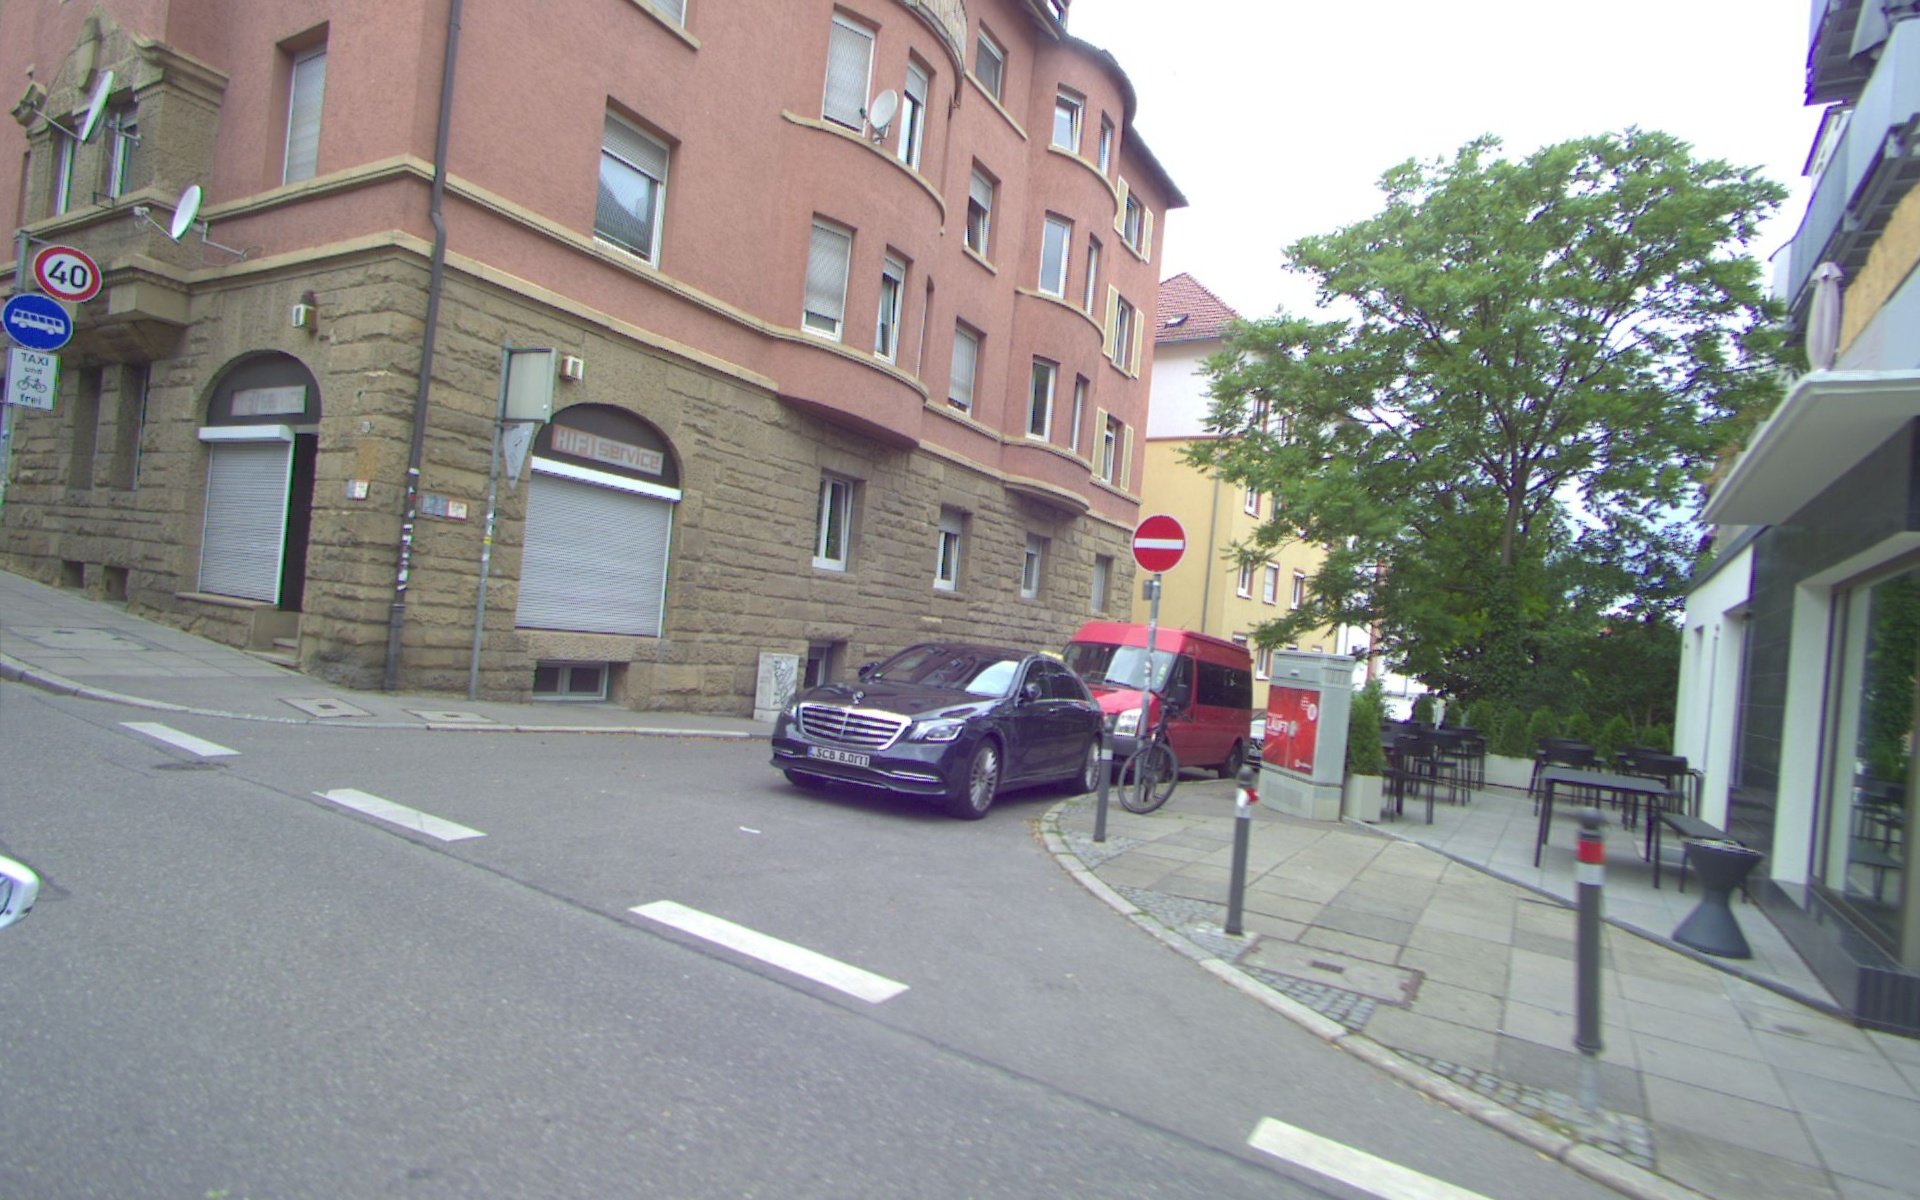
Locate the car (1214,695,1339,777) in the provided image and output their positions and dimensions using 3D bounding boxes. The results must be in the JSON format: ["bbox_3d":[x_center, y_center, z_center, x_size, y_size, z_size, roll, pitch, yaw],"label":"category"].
[{"bbox_3d":[7.318,3.150,22.987,1.739,1.470,4.304,6,-5,30],"label":"car"}]

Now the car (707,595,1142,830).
[{"bbox_3d":[0.039,1.114,10.300,2.199,1.567,5.145,6,-4,26],"label":"car"}]

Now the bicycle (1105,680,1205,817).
[{"bbox_3d":[1.930,1.390,9.788,0.622,1.167,1.502,4,-2,22],"label":"bicycle"}]

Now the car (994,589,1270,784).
[{"bbox_3d":[2.909,1.426,15.458,2.201,2.263,5.603,6,-4,30],"label":"car"}]

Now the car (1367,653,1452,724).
[{"bbox_3d":[26.007,5.204,57.866,2.973,3.314,9.538,7,-2,31],"label":"car"}]
